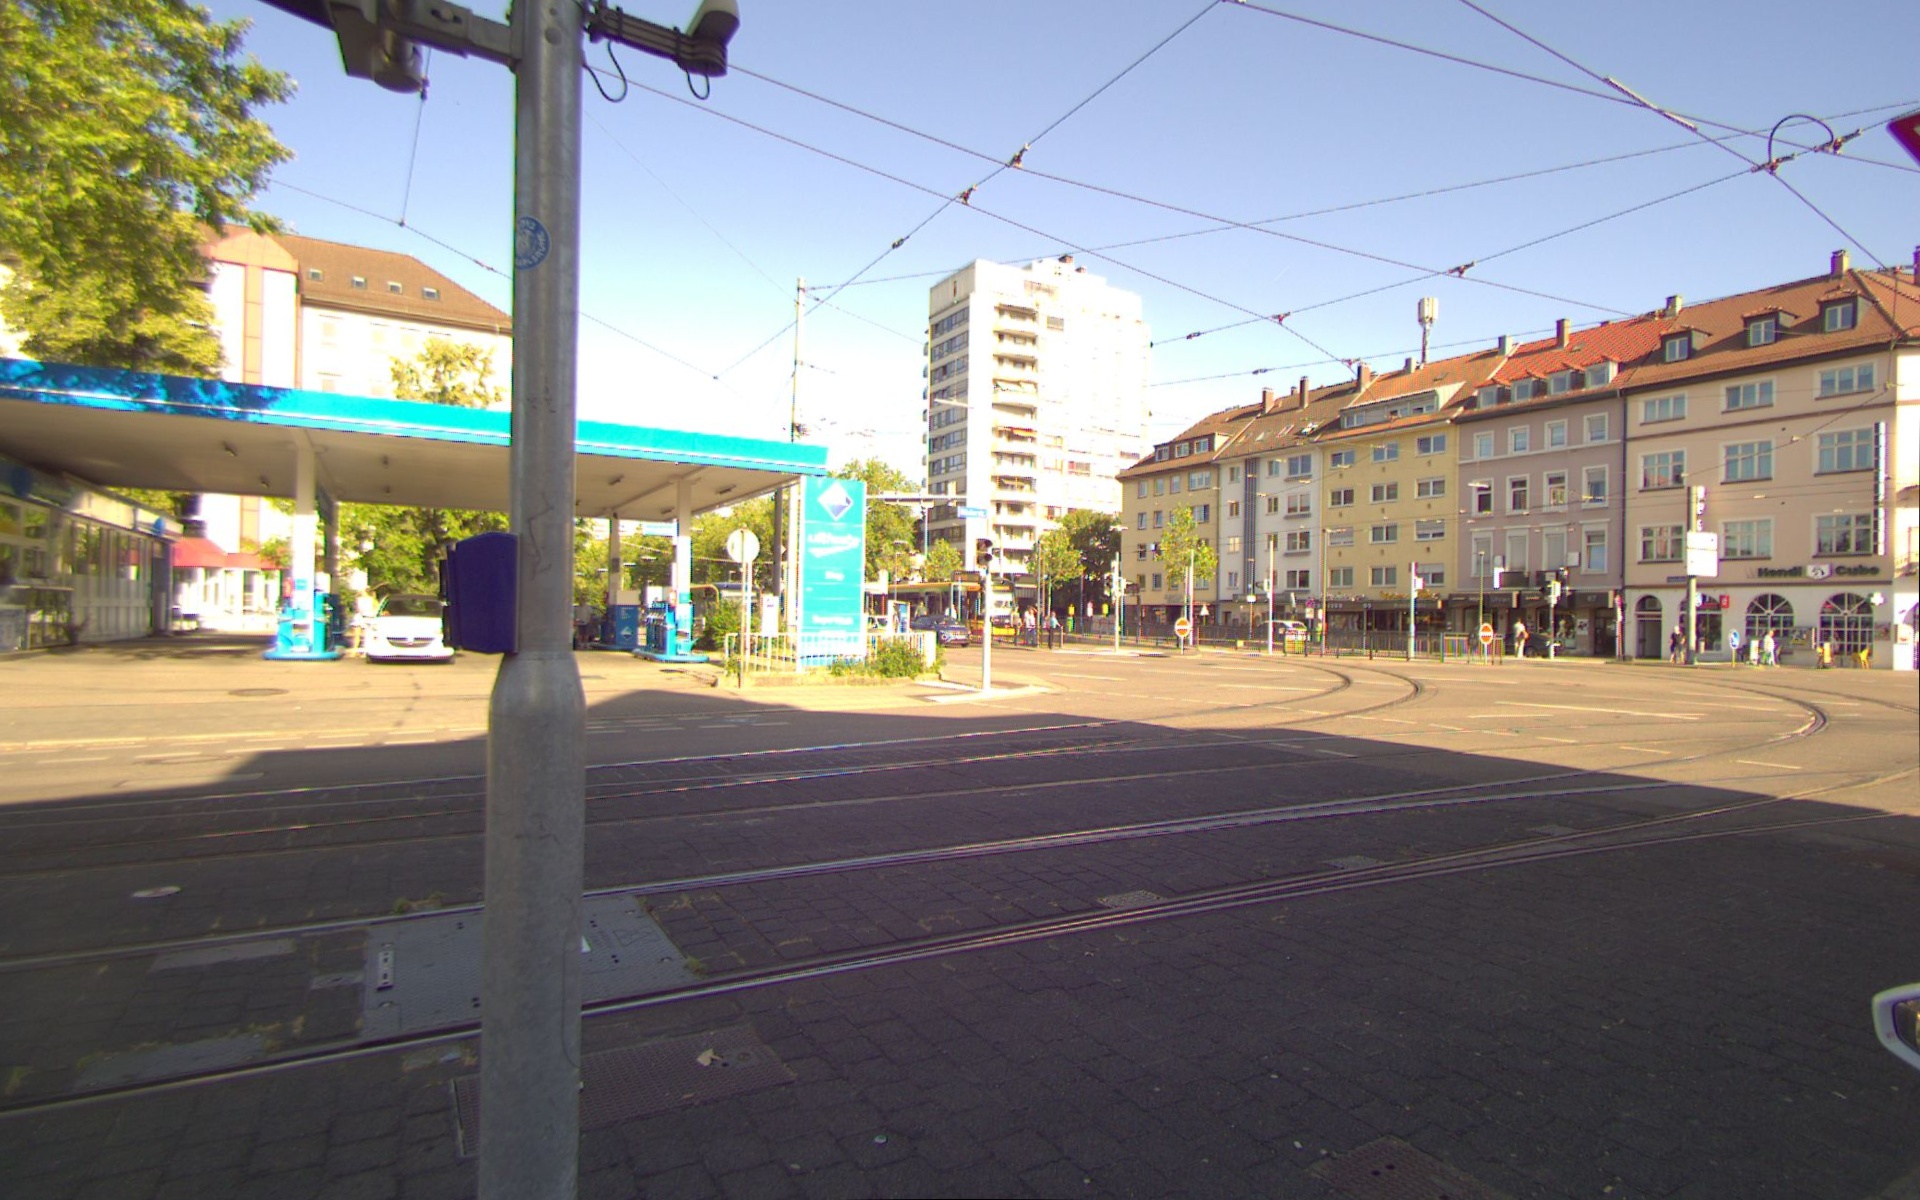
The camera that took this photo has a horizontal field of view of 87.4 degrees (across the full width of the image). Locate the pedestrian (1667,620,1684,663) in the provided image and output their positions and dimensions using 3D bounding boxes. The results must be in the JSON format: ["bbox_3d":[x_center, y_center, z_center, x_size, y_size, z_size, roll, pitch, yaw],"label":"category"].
[{"bbox_3d":[34.209,1.985,48.019,0.498,2.040,0.507,1,-1,-27],"label":"pedestrian"}]

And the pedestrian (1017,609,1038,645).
[{"bbox_3d":[3.240,1.305,48.203,0.773,1.721,0.692,1,-1,-33],"label":"pedestrian"}]

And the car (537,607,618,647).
[{"bbox_3d":[-17.205,1.215,45.380,1.960,1.685,4.001,1,-1,2],"label":"car"}]

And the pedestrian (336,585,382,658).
[{"bbox_3d":[-13.902,0.504,23.233,0.801,1.652,0.643,1,-1,-24],"label":"pedestrian"}]

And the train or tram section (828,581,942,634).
[{"bbox_3d":[-5.252,0.526,67.580,3.252,3.335,10.157,1,-1,-33],"label":"train or tram section"}]

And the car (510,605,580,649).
[{"bbox_3d":[-13.503,0.865,32.575,1.752,1.332,3.520,1,-1,-28],"label":"car"}]

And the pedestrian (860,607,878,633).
[{"bbox_3d":[-5.771,1.258,63.755,0.899,1.646,0.890,1,-1,-23],"label":"pedestrian"}]

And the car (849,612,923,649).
[{"bbox_3d":[-3.508,1.396,46.804,1.976,1.615,3.970,1,-1,-29],"label":"car"}]

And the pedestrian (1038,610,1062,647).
[{"bbox_3d":[4.048,1.286,45.042,0.791,1.646,0.706,1,-1,-33],"label":"pedestrian"}]

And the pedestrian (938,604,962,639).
[{"bbox_3d":[-0.533,1.155,53.200,0.902,1.826,0.887,1,-1,-33],"label":"pedestrian"}]

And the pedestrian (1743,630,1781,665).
[{"bbox_3d":[36.987,2.181,46.346,1.029,1.612,1.061,1,-1,-28],"label":"pedestrian"}]

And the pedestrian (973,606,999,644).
[{"bbox_3d":[1.231,1.192,48.460,0.902,1.826,0.887,1,-1,-33],"label":"pedestrian"}]

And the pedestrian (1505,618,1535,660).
[{"bbox_3d":[24.495,1.696,43.954,0.801,1.842,0.871,1,-1,-29],"label":"pedestrian"}]

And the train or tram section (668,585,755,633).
[{"bbox_3d":[-15.032,0.456,60.036,2.233,2.627,10.398,2,0,-30],"label":"train or tram section"}]

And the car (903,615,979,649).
[{"bbox_3d":[-0.960,1.494,48.346,1.937,1.475,4.077,1,0,-30],"label":"car"}]

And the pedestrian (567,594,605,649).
[{"bbox_3d":[-12.699,0.740,34.127,0.883,1.826,0.906,0,-1,45],"label":"pedestrian"}]

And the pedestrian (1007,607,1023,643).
[{"bbox_3d":[2.600,1.188,47.665,0.491,1.721,0.553,1,-1,-33],"label":"pedestrian"}]

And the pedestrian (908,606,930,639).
[{"bbox_3d":[-2.317,1.276,57.013,0.902,1.826,0.887,1,-1,-33],"label":"pedestrian"}]

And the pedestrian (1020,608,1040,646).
[{"bbox_3d":[3.216,1.232,46.304,0.549,1.721,0.740,1,-1,-33],"label":"pedestrian"}]

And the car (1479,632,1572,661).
[{"bbox_3d":[30.774,2.499,54.713,1.980,1.483,3.962,1,-1,-34],"label":"car"}]

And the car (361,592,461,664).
[{"bbox_3d":[-12.273,0.606,22.431,1.773,1.461,3.968,2,-1,-30],"label":"car"}]

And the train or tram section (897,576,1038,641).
[{"bbox_3d":[0.229,0.521,58.961,3.252,3.459,10.157,1,-1,-33],"label":"train or tram section"}]
